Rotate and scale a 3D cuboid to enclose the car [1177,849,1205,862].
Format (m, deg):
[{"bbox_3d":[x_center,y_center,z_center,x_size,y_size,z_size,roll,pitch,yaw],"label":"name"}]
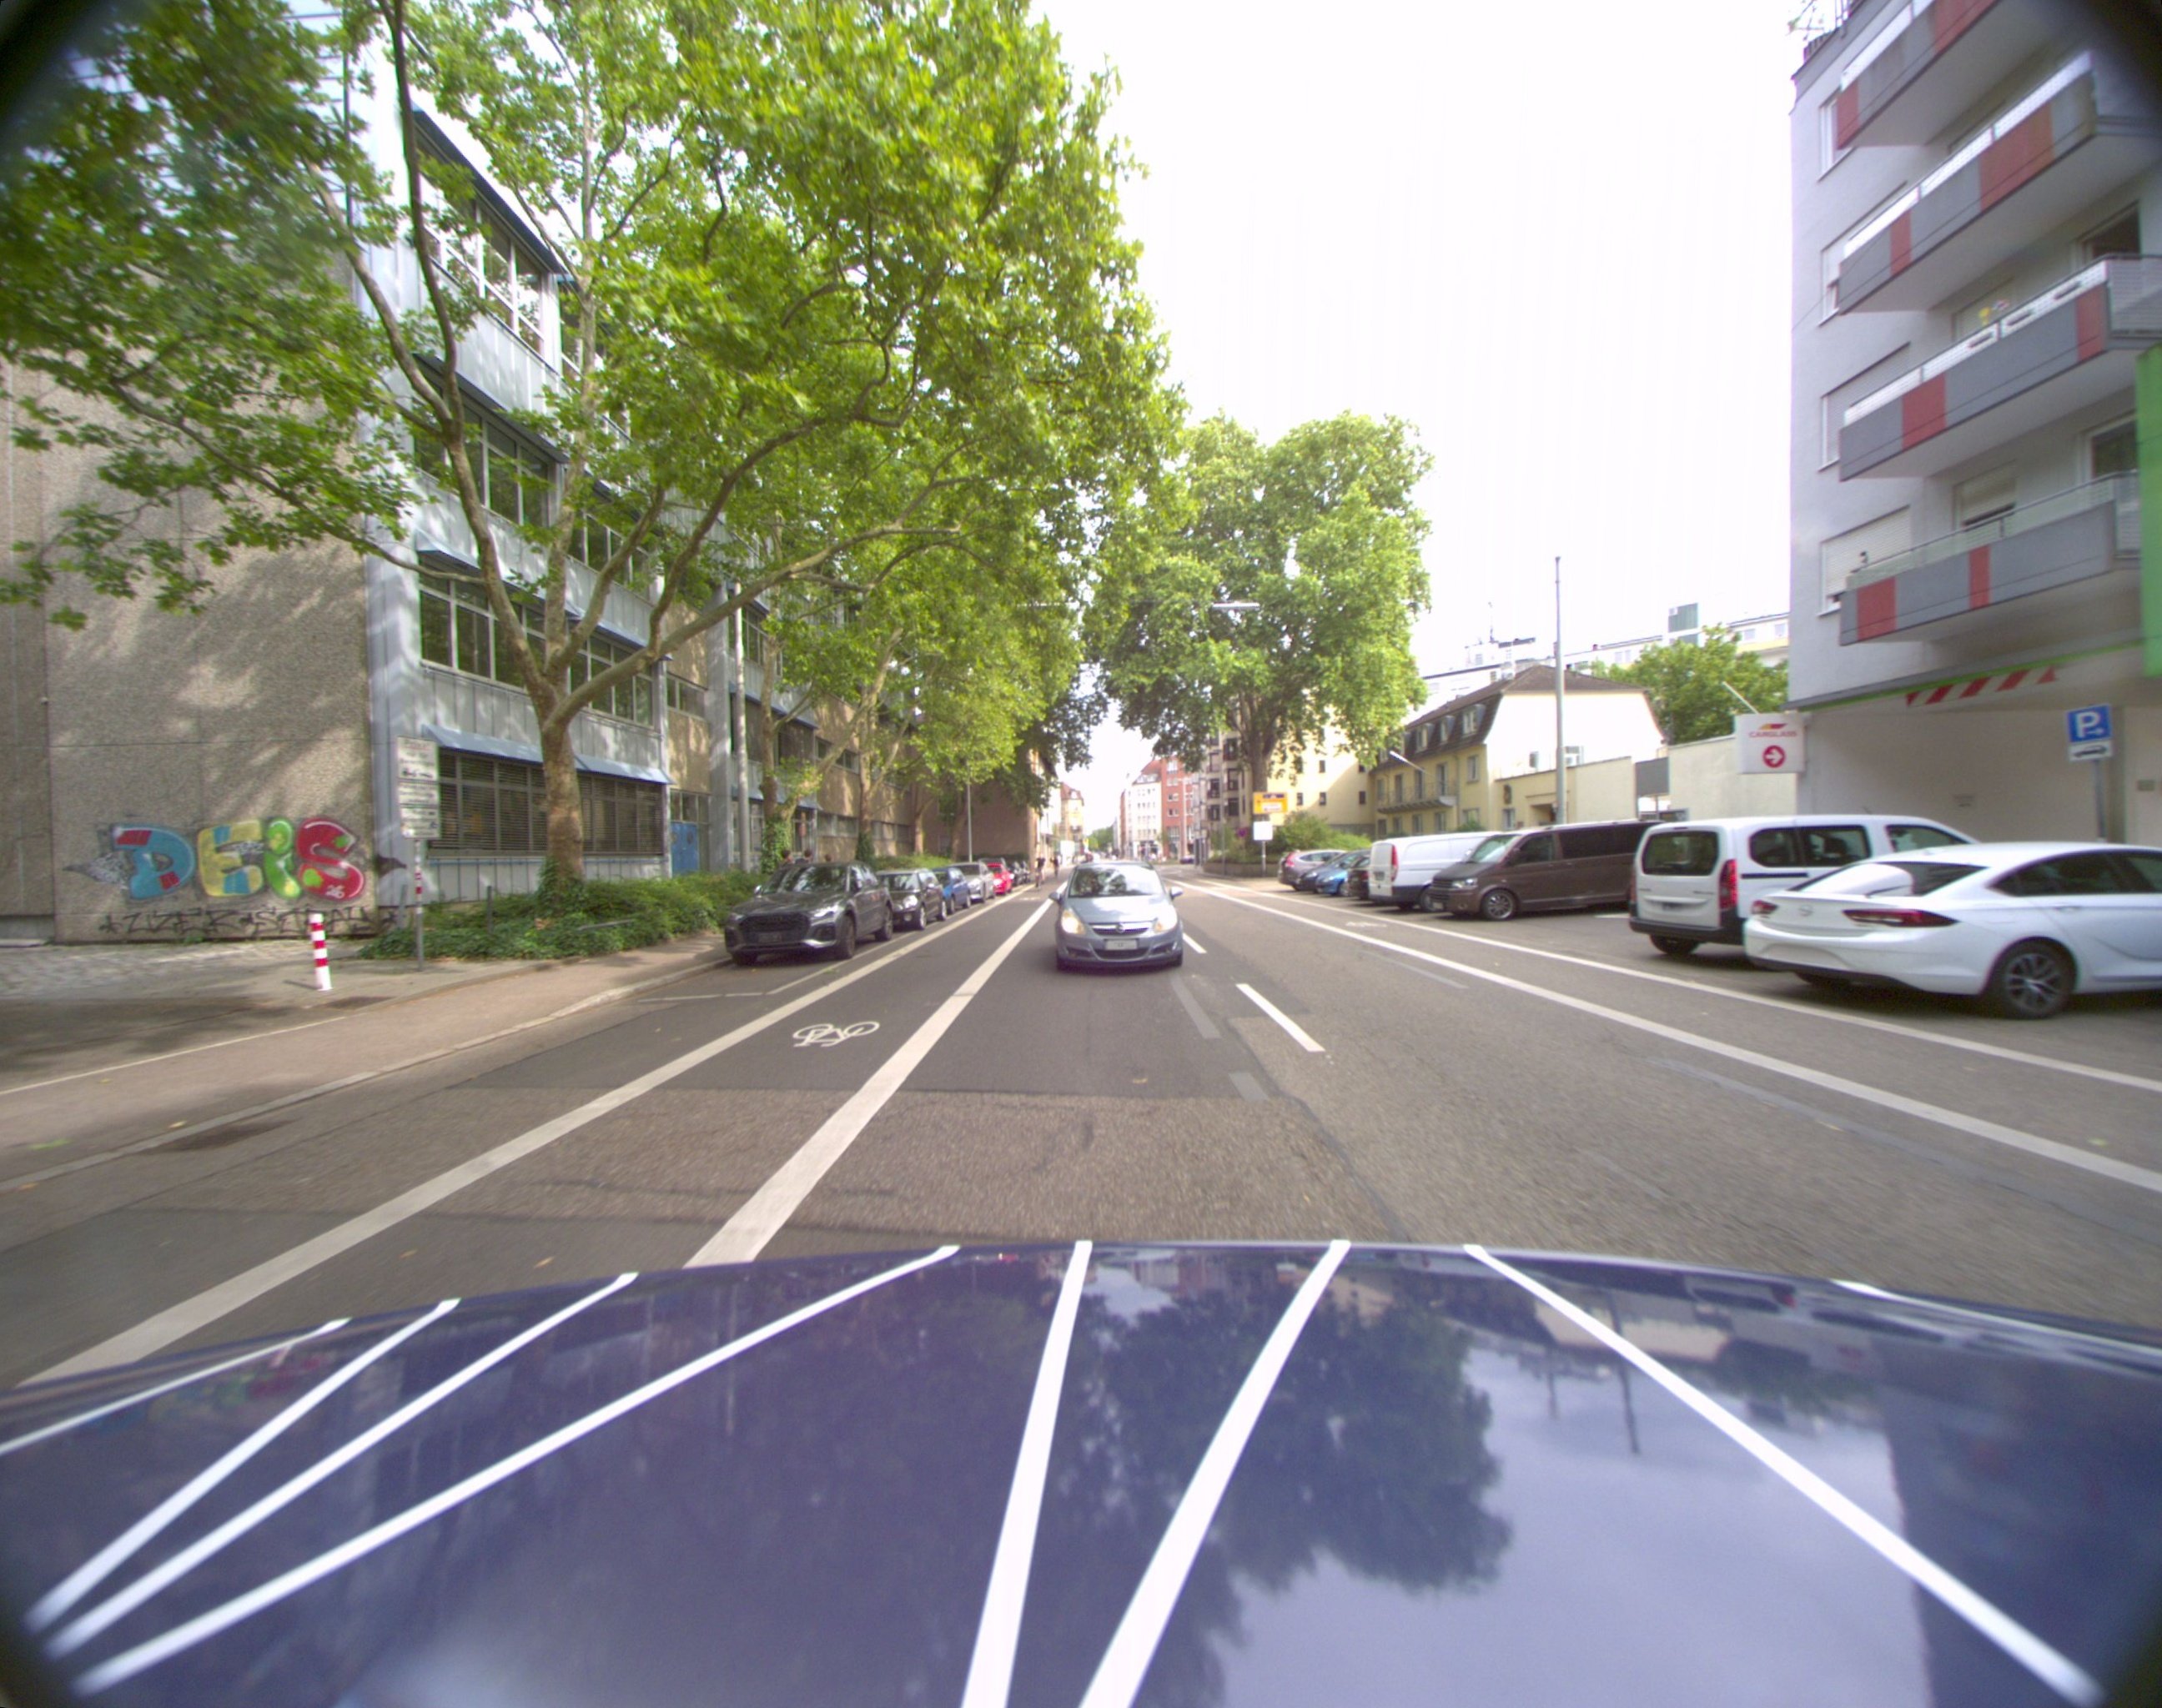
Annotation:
[{"bbox_3d":[16.383,0.196,112.899,1.967,1.660,4.560,-2,1,38],"label":"car"}]

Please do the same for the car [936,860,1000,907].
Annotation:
[{"bbox_3d":[-4.215,1.051,28.857,1.602,1.496,4.440,-3,0,1],"label":"car"}]

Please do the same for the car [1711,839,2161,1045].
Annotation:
[{"bbox_3d":[8.891,0.713,7.151,4.281,1.442,1.874,-4,0,1],"label":"car"}]

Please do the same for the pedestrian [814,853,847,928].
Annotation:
[{"bbox_3d":[-6.095,0.882,18.526,0.592,1.775,0.476,2,1,0],"label":"pedestrian"}]

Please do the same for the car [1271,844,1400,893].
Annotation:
[{"bbox_3d":[10.098,0.568,30.380,4.529,1.596,1.754,-4,0,2],"label":"car"}]

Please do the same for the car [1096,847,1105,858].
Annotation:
[{"bbox_3d":[4.503,-0.331,178.213,1.998,2.546,4.799,-2,0,1],"label":"car"}]

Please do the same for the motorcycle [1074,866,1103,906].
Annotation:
[{"bbox_3d":[0.248,1.044,25.339,0.904,1.190,2.630,-2,0,1],"label":"motorcycle"}]

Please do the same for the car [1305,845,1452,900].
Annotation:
[{"bbox_3d":[10.077,0.612,25.939,4.275,1.502,1.719,-4,0,2],"label":"car"}]

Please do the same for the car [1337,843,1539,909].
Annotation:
[{"bbox_3d":[9.941,0.594,21.445,4.716,1.461,1.874,-4,0,2],"label":"car"}]

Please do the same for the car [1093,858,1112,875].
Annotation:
[{"bbox_3d":[2.399,1.331,82.871,1.934,1.638,4.000,-1,0,3],"label":"car"}]

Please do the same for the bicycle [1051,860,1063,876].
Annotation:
[{"bbox_3d":[-1.845,1.092,58.970,0.763,1.162,1.949,-2,0,1],"label":"bicycle"}]

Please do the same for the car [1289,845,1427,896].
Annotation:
[{"bbox_3d":[10.145,0.588,28.065,4.372,1.540,1.733,-4,0,2],"label":"car"}]

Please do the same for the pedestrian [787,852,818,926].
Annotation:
[{"bbox_3d":[-6.753,0.839,18.461,0.502,1.775,0.527,2,1,0],"label":"pedestrian"}]

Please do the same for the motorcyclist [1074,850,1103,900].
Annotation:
[{"bbox_3d":[0.244,0.691,25.337,0.904,1.608,0.691,-2,1,0],"label":"motorcyclist"}]

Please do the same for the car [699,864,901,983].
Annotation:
[{"bbox_3d":[-4.751,1.066,13.662,1.926,1.612,4.480,-3,0,-1],"label":"car"}]

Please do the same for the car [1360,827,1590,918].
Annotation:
[{"bbox_3d":[9.693,0.441,19.008,4.627,1.848,1.950,-4,0,2],"label":"car"}]

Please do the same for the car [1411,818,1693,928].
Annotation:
[{"bbox_3d":[10.050,0.385,16.536,4.778,1.923,1.994,-4,0,2],"label":"car"}]

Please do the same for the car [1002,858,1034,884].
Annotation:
[{"bbox_3d":[-4.052,1.074,49.158,1.602,1.516,3.956,-3,0,1],"label":"car"}]

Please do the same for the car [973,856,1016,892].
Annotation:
[{"bbox_3d":[-4.473,0.997,39.902,1.651,1.655,3.797,-3,0,1],"label":"car"}]

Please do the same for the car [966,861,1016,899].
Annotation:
[{"bbox_3d":[-3.970,1.122,34.175,1.602,1.438,4.105,-3,0,1],"label":"car"}]

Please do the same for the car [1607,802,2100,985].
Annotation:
[{"bbox_3d":[9.556,0.460,9.714,4.221,1.837,1.924,-4,0,1],"label":"car"}]

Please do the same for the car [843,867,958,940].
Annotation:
[{"bbox_3d":[-4.363,1.145,19.067,1.643,1.424,4.573,-3,0,1],"label":"car"}]

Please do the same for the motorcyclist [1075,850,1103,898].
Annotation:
[{"bbox_3d":[0.276,0.681,26.046,0.904,1.608,0.691,-2,1,0],"label":"motorcyclist"}]

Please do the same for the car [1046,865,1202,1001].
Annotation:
[{"bbox_3d":[0.520,0.924,10.723,1.716,1.412,4.253,-2,0,1],"label":"car"}]

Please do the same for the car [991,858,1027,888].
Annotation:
[{"bbox_3d":[-4.171,1.069,44.446,1.602,1.516,3.956,-3,0,1],"label":"car"}]

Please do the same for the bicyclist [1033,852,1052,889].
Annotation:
[{"bbox_3d":[-1.860,0.791,36.527,0.764,1.699,0.917,-2,1,1],"label":"bicyclist"}]

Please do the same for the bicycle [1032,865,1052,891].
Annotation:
[{"bbox_3d":[-1.856,1.123,36.488,0.763,1.162,1.949,-2,0,1],"label":"bicycle"}]

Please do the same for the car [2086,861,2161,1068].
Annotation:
[{"bbox_3d":[9.809,0.667,4.783,4.311,1.442,1.910,-4,0,1],"label":"car"}]

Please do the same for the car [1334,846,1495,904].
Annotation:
[{"bbox_3d":[10.288,0.629,23.676,4.202,1.443,1.719,-4,0,2],"label":"car"}]

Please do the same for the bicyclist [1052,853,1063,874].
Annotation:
[{"bbox_3d":[-1.848,0.762,58.973,0.748,1.590,0.819,-2,1,1],"label":"bicyclist"}]

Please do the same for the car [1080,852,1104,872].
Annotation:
[{"bbox_3d":[0.951,0.633,65.646,2.000,1.557,4.550,-2,1,1],"label":"car"}]

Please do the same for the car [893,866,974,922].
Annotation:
[{"bbox_3d":[-4.454,1.154,23.496,1.602,1.414,3.956,-3,0,1],"label":"car"}]

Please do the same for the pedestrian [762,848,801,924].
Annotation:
[{"bbox_3d":[-7.338,0.772,18.633,0.644,1.823,0.645,2,1,0],"label":"pedestrian"}]
